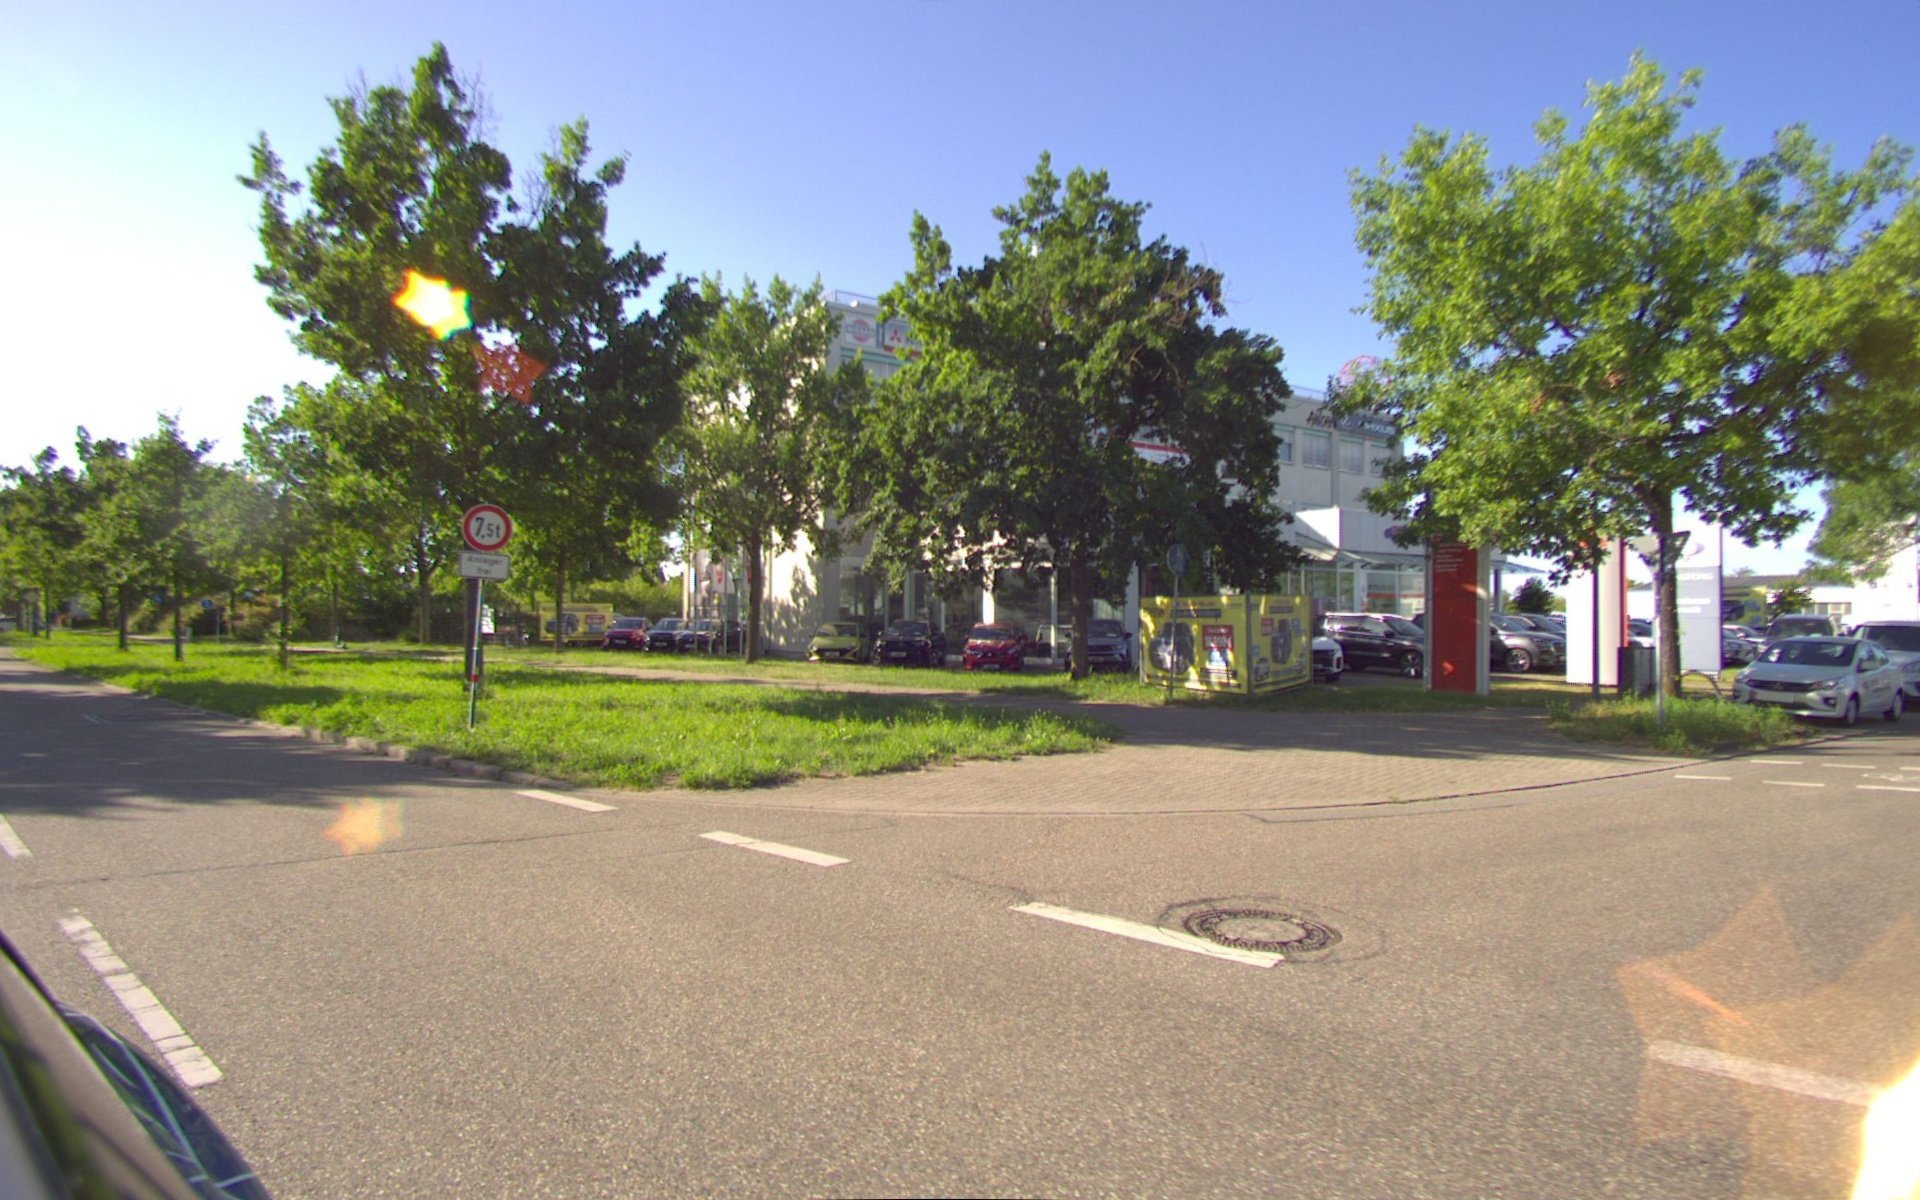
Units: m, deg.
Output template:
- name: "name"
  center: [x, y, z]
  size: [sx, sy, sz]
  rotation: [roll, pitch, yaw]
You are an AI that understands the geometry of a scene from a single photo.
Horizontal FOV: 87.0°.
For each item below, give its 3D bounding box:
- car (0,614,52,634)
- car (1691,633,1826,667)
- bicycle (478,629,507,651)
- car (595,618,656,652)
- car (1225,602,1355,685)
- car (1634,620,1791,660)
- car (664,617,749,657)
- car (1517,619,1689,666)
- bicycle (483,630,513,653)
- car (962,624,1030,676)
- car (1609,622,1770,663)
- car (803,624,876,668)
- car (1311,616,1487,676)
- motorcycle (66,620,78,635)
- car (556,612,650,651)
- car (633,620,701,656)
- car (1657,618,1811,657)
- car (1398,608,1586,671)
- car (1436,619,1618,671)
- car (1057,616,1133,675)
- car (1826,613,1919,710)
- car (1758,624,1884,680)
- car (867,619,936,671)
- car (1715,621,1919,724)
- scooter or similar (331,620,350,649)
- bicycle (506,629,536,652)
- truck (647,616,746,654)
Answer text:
- name: "car"
  center: [-80.264, 2.043, 85.840]
  size: [2.190, 1.570, 4.578]
  rotation: [-2, -1, 41]
- name: "car"
  center: [39.447, 2.431, 50.105]
  size: [1.967, 1.574, 4.882]
  rotation: [1, -2, -37]
- name: "bicycle"
  center: [-23.318, 1.993, 50.452]
  size: [1.891, 1.096, 0.632]
  rotation: [-1, -2, 43]
- name: "car"
  center: [-15.243, 1.586, 46.268]
  size: [1.774, 1.459, 4.004]
  rotation: [0, -1, -5]
- name: "car"
  center: [8.733, 1.120, 27.283]
  size: [1.972, 2.029, 4.856]
  rotation: [0, -1, 1]
- name: "car"
  center: [31.236, 1.629, 42.150]
  size: [1.967, 1.574, 4.882]
  rotation: [1, -2, -37]
- name: "car"
  center: [-10.308, 1.513, 41.437]
  size: [1.783, 1.523, 3.982]
  rotation: [-2, -2, 13]
- name: "car"
  center: [23.222, 1.508, 36.732]
  size: [1.967, 1.574, 4.882]
  rotation: [1, -2, -37]
- name: "bicycle"
  center: [-22.498, 1.993, 49.264]
  size: [1.891, 1.096, 0.632]
  rotation: [-1, -2, 43]
- name: "car"
  center: [1.163, 1.487, 31.441]
  size: [1.974, 1.502, 4.165]
  rotation: [0, -1, 4]
- name: "car"
  center: [29.221, 1.670, 40.707]
  size: [1.967, 1.574, 4.882]
  rotation: [1, -2, -37]
- name: "car"
  center: [-4.057, 1.543, 34.638]
  size: [1.973, 1.412, 3.952]
  rotation: [0, -1, 1]
- name: "car"
  center: [12.440, 1.272, 28.868]
  size: [1.967, 1.583, 4.179]
  rotation: [1, -2, -37]
- name: "motorcycle"
  center: [-91.351, 2.806, 104.112]
  size: [0.729, 1.443, 1.992]
  rotation: [-3, 1, -44]
- name: "car"
  center: [-17.895, 1.547, 50.772]
  size: [3.967, 1.797, 2.029]
  rotation: [-1, -1, -40]
- name: "car"
  center: [-12.602, 1.616, 43.756]
  size: [1.776, 1.459, 3.999]
  rotation: [0, -1, 0]
- name: "car"
  center: [33.187, 1.580, 43.521]
  size: [1.967, 1.574, 4.882]
  rotation: [1, -2, -37]
- name: "car"
  center: [16.629, 1.215, 31.897]
  size: [1.967, 1.826, 4.883]
  rotation: [1, -2, -36]
- name: "car"
  center: [18.645, 1.444, 33.500]
  size: [1.967, 1.574, 4.882]
  rotation: [1, -2, -37]
- name: "car"
  center: [3.989, 1.283, 29.367]
  size: [1.979, 1.574, 4.155]
  rotation: [0, -2, 11]
- name: "car"
  center: [20.932, 1.265, 21.833]
  size: [4.941, 1.921, 1.947]
  rotation: [1, -2, -31]
- name: "car"
  center: [26.087, 1.514, 30.620]
  size: [4.793, 1.574, 2.004]
  rotation: [1, -2, -39]
- name: "car"
  center: [-1.786, 1.385, 32.197]
  size: [1.870, 1.550, 4.168]
  rotation: [0, -1, 1]
- name: "car"
  center: [15.257, 1.185, 17.882]
  size: [3.692, 1.630, 1.968]
  rotation: [1, -2, -34]
- name: "scooter or similar"
  center: [-28.150, 1.559, 45.975]
  size: [1.441, 1.289, 0.390]
  rotation: [-1, -2, 44]
- name: "bicycle"
  center: [-21.609, 1.981, 49.782]
  size: [1.891, 1.096, 0.632]
  rotation: [-1, -2, 43]
- name: "truck"
  center: [-13.863, 1.809, 53.389]
  size: [4.613, 1.797, 2.030]
  rotation: [-1, -1, -36]
